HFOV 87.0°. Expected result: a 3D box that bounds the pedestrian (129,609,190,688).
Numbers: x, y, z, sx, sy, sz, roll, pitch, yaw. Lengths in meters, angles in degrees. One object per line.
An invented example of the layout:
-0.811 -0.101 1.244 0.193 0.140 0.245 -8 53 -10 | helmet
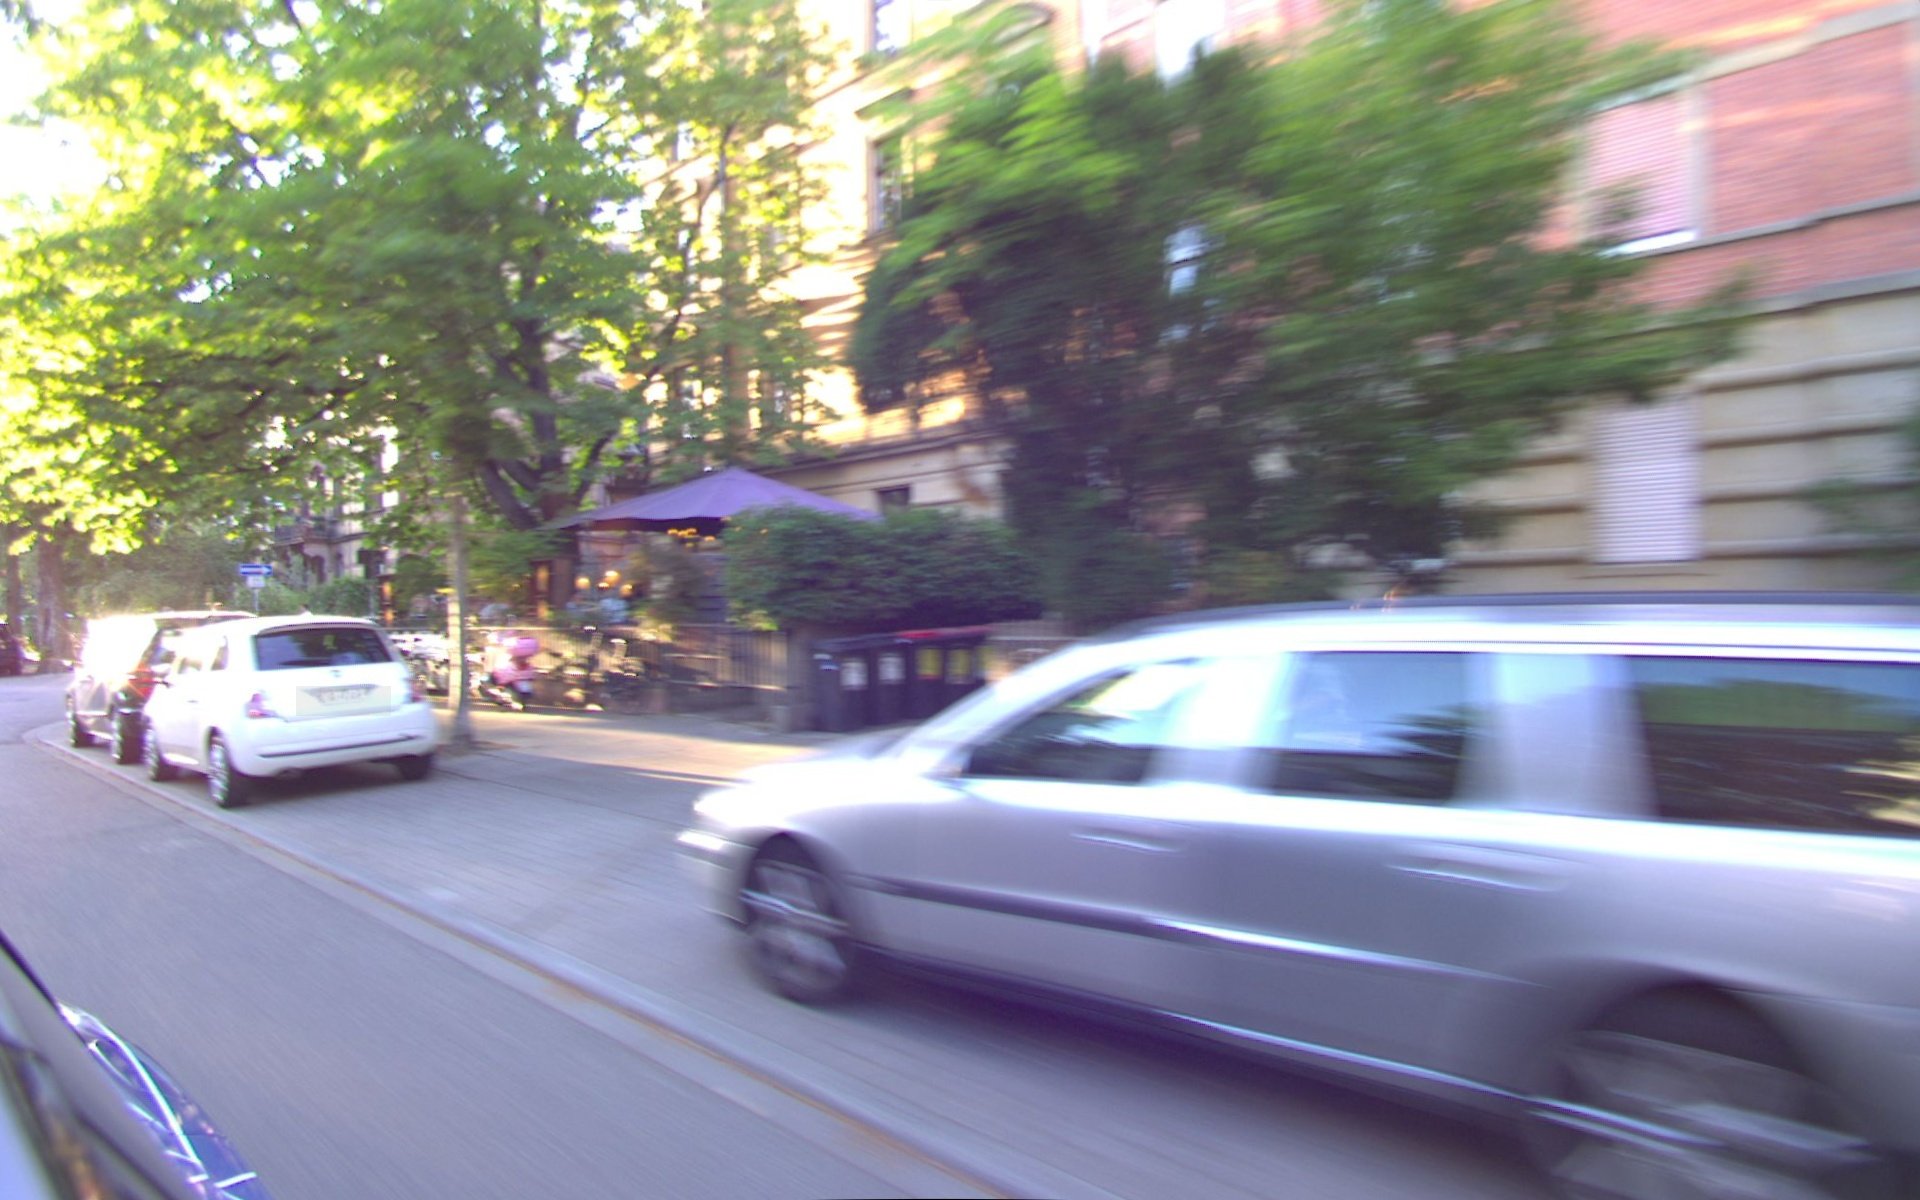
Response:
-19.039 1.137 24.076 1.000 1.849 0.684 -1 -1 15 | pedestrian

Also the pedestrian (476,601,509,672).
-9.792 0.755 21.190 0.458 1.462 0.428 -2 -2 10 | pedestrian

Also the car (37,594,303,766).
-9.585 0.868 12.181 3.842 1.690 1.648 -2 1 39 | car

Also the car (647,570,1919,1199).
1.152 0.685 3.450 4.590 1.422 1.824 -2 0 36 | car

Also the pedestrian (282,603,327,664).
-20.645 1.041 31.878 0.777 1.837 0.916 2 2 30 | pedestrian

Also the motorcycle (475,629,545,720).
-6.498 1.032 14.554 0.386 1.194 1.960 -2 1 -39 | motorcycle

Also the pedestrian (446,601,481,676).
-9.858 0.772 20.104 0.458 1.462 0.428 -2 -2 10 | pedestrian

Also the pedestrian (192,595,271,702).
-14.316 0.938 19.901 1.002 2.029 0.863 -1 -2 21 | pedestrian

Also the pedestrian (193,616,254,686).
-17.772 1.223 24.424 1.043 1.643 0.684 -1 -1 15 | pedestrian

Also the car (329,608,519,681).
-12.462 1.019 23.794 1.622 1.557 3.830 -2 -2 21 | car

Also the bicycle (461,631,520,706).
-7.879 1.115 16.941 0.386 1.152 1.960 -3 1 -39 | bicycle

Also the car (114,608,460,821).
-6.342 0.912 9.396 3.707 1.504 1.648 -2 1 40 | car

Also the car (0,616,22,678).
-28.761 1.384 29.276 4.588 1.700 1.847 -2 -1 40 | car

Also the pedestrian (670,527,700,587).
-6.755 -1.046 24.896 0.461 1.423 0.519 -3 -2 26 | pedestrian

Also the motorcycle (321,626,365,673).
-17.480 1.409 28.640 1.859 1.266 0.466 -3 -2 39 | motorcycle
